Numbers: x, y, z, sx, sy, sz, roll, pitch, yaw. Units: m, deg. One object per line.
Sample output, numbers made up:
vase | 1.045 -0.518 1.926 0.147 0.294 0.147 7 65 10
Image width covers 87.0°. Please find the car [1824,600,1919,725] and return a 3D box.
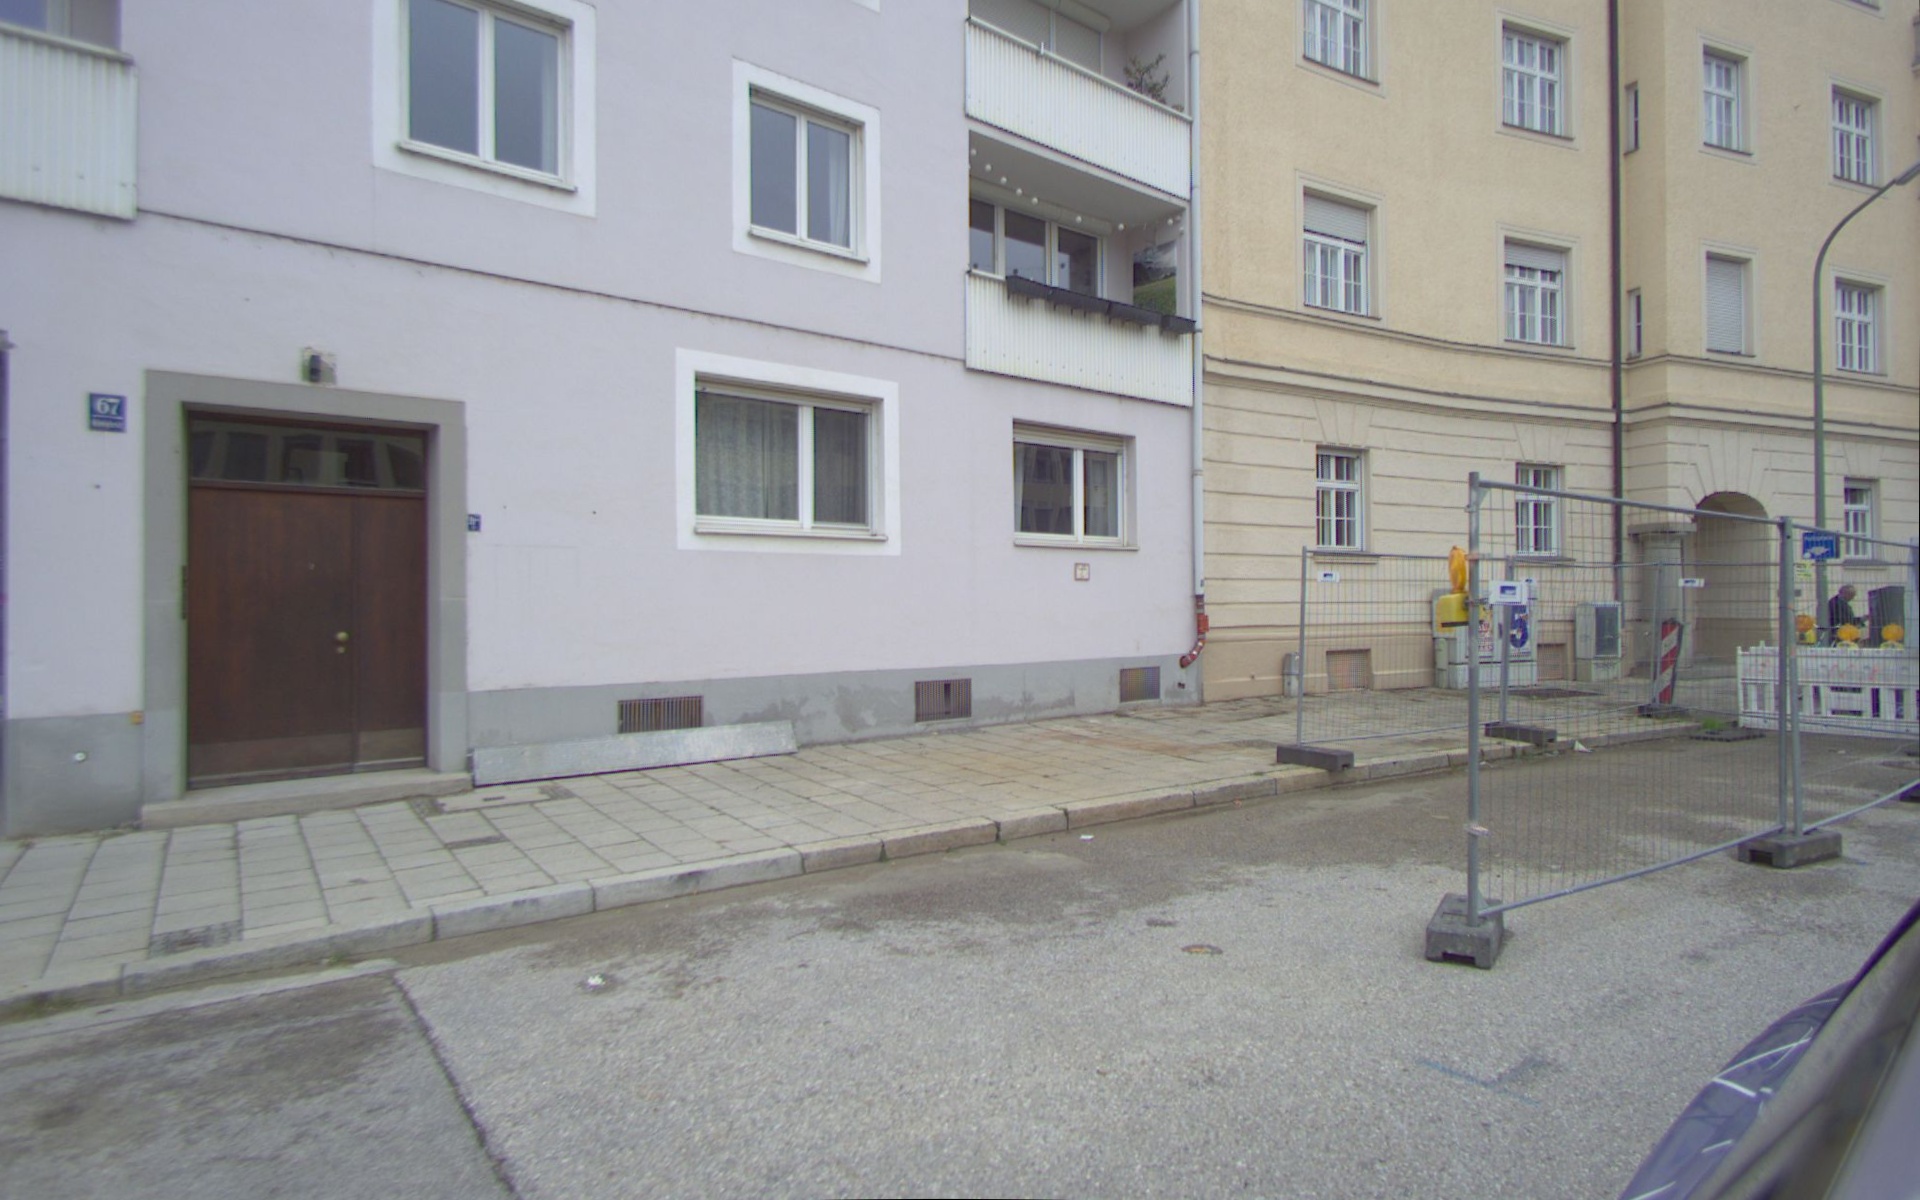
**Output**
car | 13.678 0.756 13.129 4.844 1.497 1.917 0 -2 -26

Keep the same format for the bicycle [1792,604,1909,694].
bicycle | 13.412 0.713 15.234 1.636 1.274 0.639 0 -1 -23

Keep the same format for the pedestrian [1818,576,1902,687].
pedestrian | 14.402 0.483 16.198 0.900 1.711 0.620 0 2 -21
